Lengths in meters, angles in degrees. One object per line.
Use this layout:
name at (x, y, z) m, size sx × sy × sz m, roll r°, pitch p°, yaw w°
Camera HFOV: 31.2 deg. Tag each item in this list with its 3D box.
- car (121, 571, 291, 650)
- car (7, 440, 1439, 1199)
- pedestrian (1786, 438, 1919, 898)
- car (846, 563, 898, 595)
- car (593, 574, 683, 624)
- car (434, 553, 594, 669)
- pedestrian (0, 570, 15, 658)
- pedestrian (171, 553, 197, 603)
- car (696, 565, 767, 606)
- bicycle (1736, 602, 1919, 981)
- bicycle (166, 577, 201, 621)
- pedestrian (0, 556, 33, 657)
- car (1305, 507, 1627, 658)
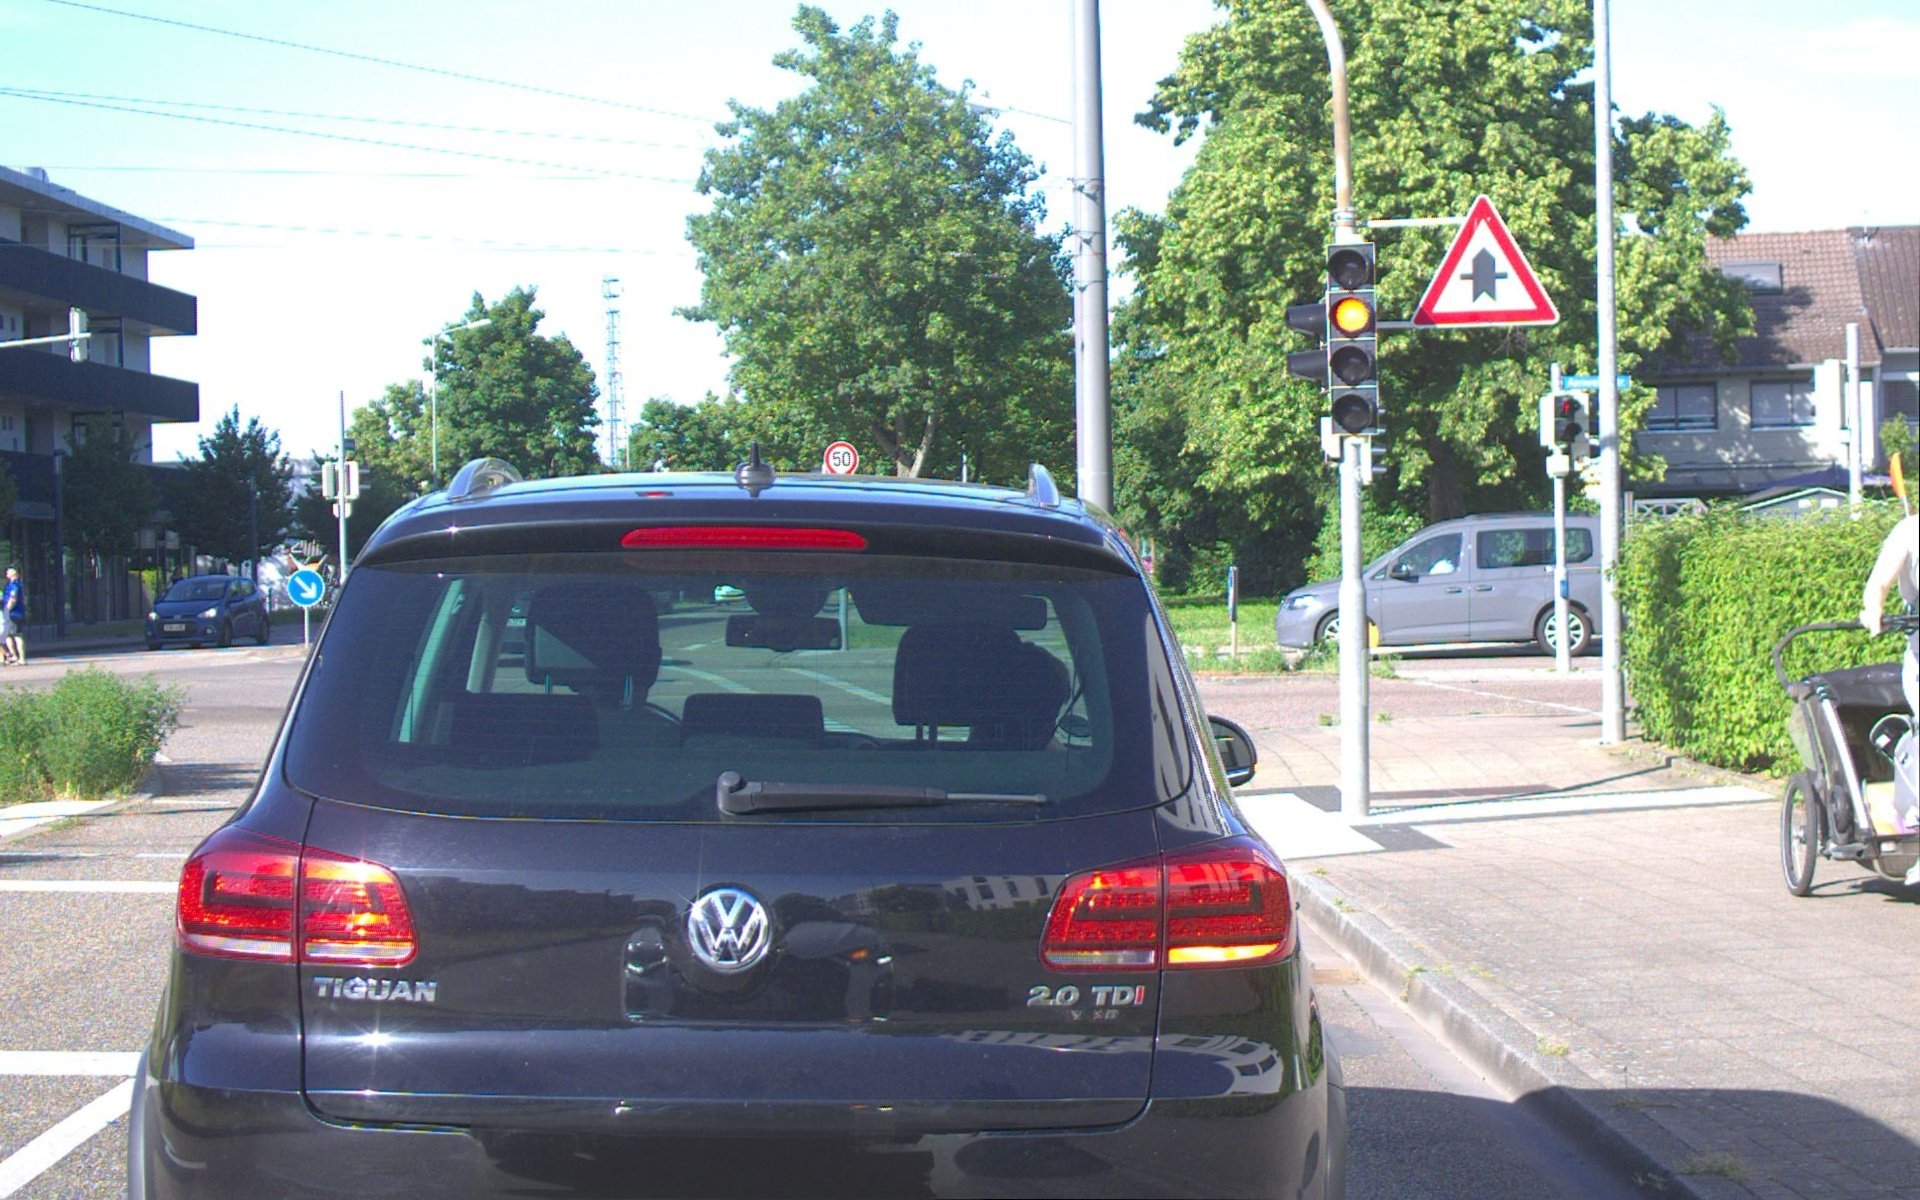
car at (-15.739, 0.188, 71.979) m, size 1.994 × 1.569 × 4.337 m, roll 1°, pitch 1°, yaw 9°
car at (-0.337, 0.598, 6.521) m, size 1.869 × 1.632 × 4.000 m, roll 1°, pitch 1°, yaw -1°
pedestrian at (3.502, 0.224, 12.327) m, size 0.911 × 1.588 × 0.854 m, roll -1°, pitch 1°, yaw 6°
car at (-4.436, -1.079, 173.423) m, size 1.994 × 1.569 × 4.338 m, roll 1°, pitch 1°, yaw 7°
car at (-10.454, -0.047, 111.859) m, size 1.994 × 1.569 × 4.338 m, roll 1°, pitch 1°, yaw 7°
car at (-6.737, 0.140, 52.303) m, size 1.993 × 1.678 × 4.000 m, roll 1°, pitch 1°, yaw -1°
pedestrian at (-16.524, 0.242, 59.069) m, size 0.441 × 1.498 × 0.518 m, roll 1°, pitch 0°, yaw -6°
pedestrian at (-23.496, -0.663, 104.137) m, size 0.642 × 1.504 × 0.596 m, roll 1°, pitch 0°, yaw 0°
car at (-9.003, -0.580, 135.561) m, size 1.994 × 1.569 × 4.338 m, roll 1°, pitch 1°, yaw 7°
bicycle at (3.550, 0.626, 12.745) m, size 0.929 × 1.169 × 3.125 m, roll -1°, pitch 1°, yaw 6°
bicycle at (-23.508, -0.039, 104.119) m, size 0.630 × 1.327 × 1.913 m, roll 1°, pitch 1°, yaw 0°
pedestrian at (-16.409, 0.116, 59.641) m, size 0.543 × 1.738 × 0.518 m, roll 1°, pitch 0°, yaw -6°
car at (6.459, -0.233, 44.187) m, size 3.988 × 1.830 × 2.000 m, roll 1°, pitch 0°, yaw 7°
